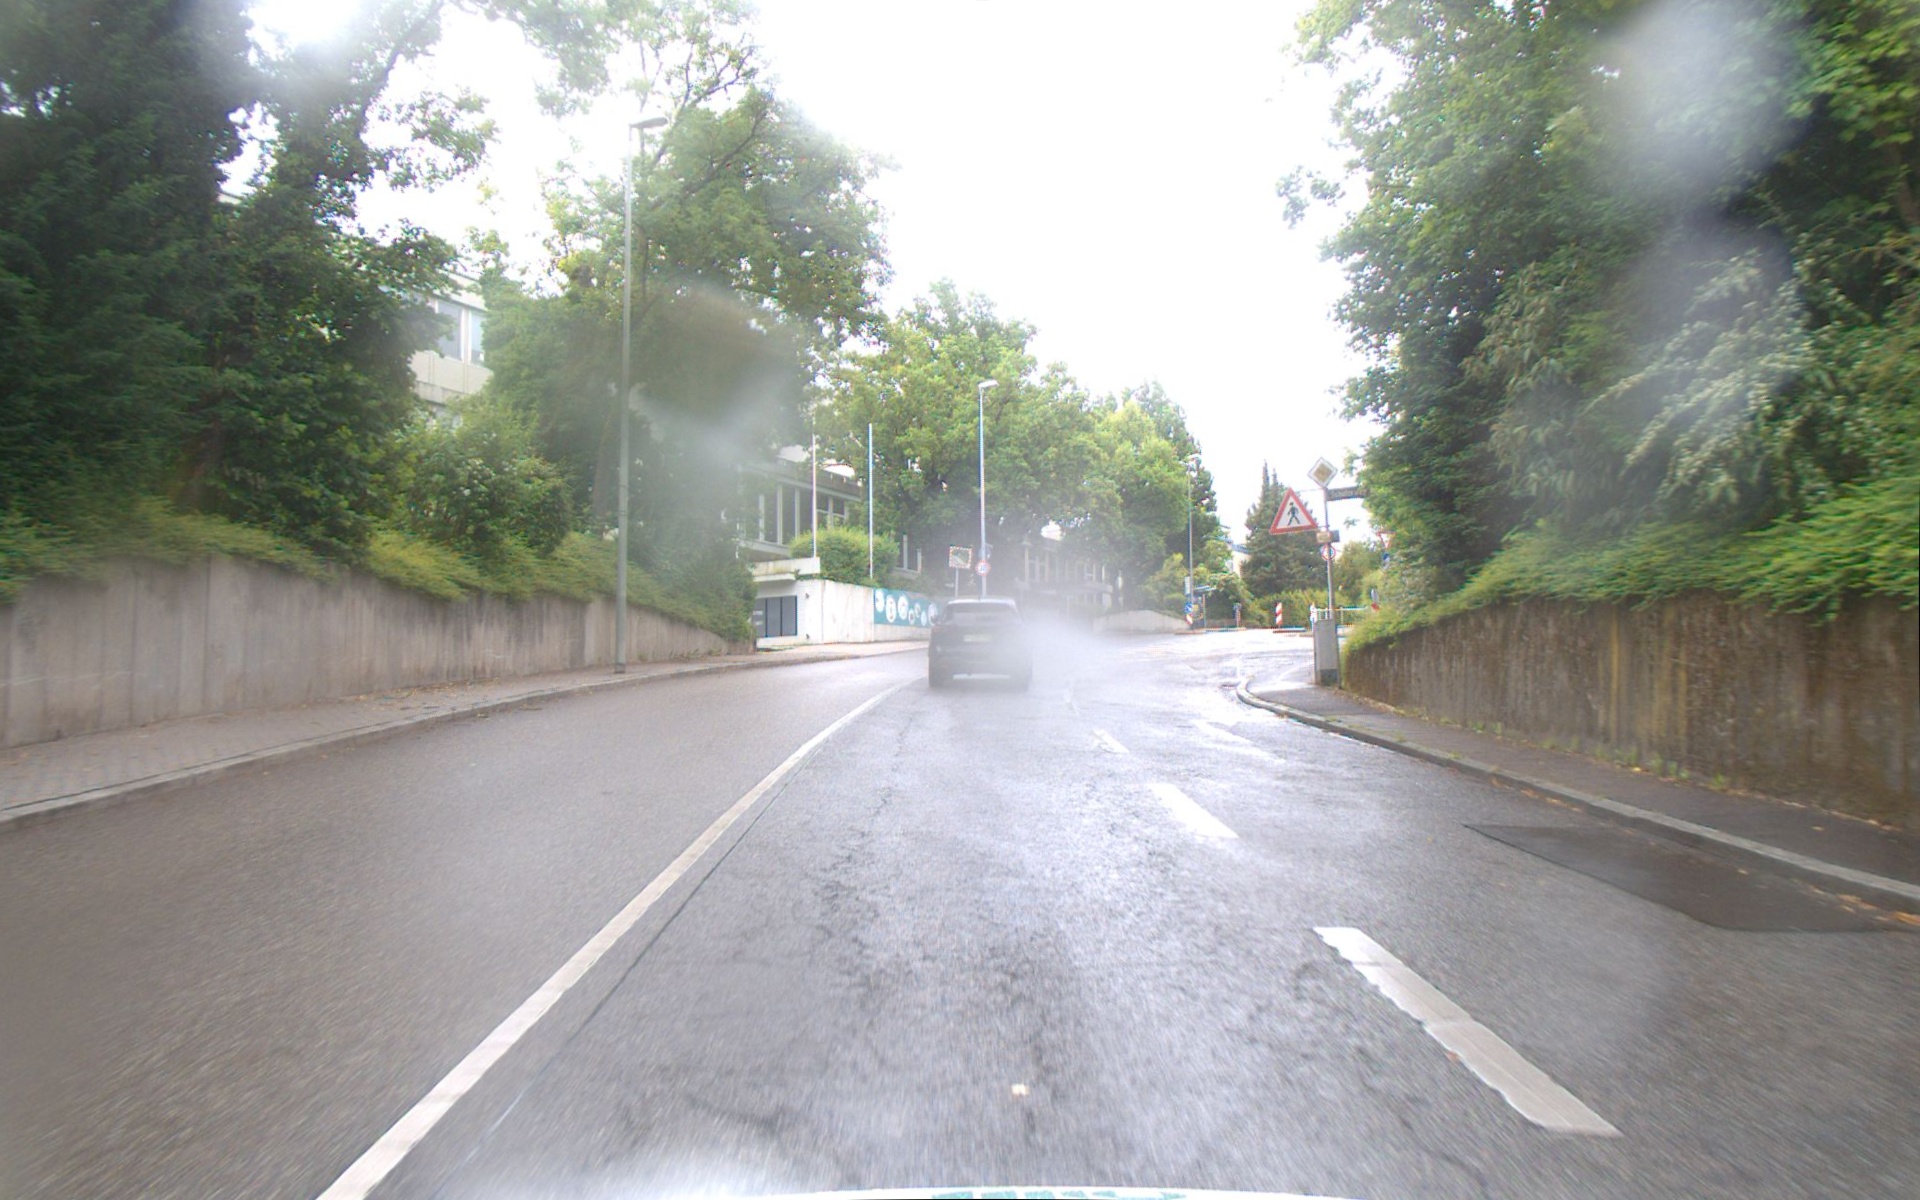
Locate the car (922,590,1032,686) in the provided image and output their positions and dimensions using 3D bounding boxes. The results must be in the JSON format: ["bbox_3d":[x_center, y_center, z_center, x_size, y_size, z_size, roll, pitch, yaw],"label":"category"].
[{"bbox_3d":[0.251,0.657,30.630,1.889,1.641,3.999,-1,0,-1],"label":"car"}]
